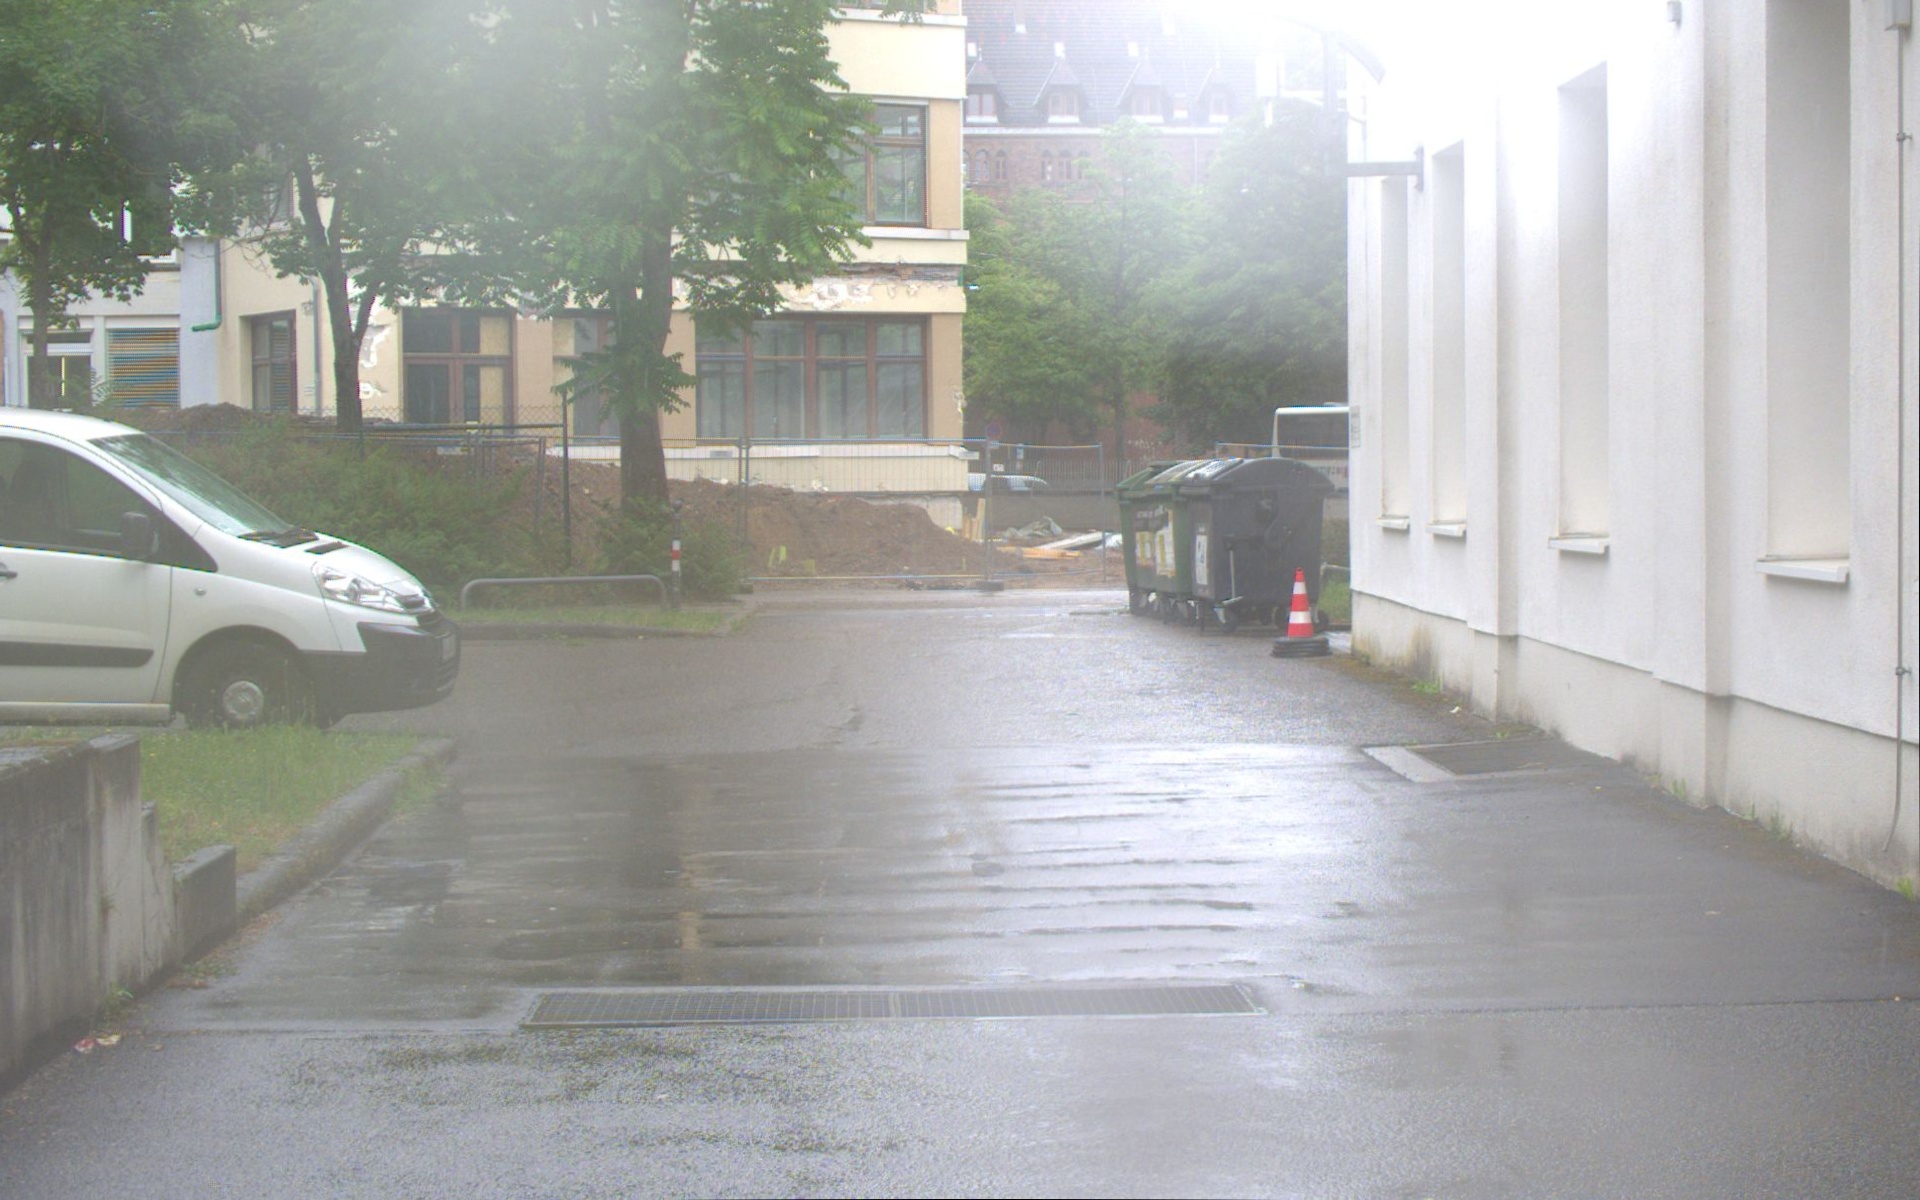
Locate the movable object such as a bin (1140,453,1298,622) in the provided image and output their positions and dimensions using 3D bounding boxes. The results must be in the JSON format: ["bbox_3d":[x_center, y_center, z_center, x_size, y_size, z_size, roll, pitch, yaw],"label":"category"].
[{"bbox_3d":[2.242,-0.535,29.991,1.214,1.432,1.294,0,0,-3],"label":"movable object such as a bin"}]

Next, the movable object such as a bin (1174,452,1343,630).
[{"bbox_3d":[2.446,-0.481,28.351,1.214,1.432,1.236,0,0,-3],"label":"movable object such as a bin"}]

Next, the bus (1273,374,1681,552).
[{"bbox_3d":[12.281,-3.169,83.418,2.807,3.860,12.057,0,0,-31],"label":"bus"}]

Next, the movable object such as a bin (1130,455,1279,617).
[{"bbox_3d":[2.237,-0.581,31.671,1.214,1.463,1.236,0,0,-3],"label":"movable object such as a bin"}]

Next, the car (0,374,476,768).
[{"bbox_3d":[-5.216,-0.171,18.910,4.780,2.006,2.000,-1,3,0],"label":"car"}]

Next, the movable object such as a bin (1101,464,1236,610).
[{"bbox_3d":[2.077,-0.623,34.424,1.214,1.432,1.259,0,0,-3],"label":"movable object such as a bin"}]

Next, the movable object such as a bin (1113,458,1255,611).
[{"bbox_3d":[2.137,-0.619,33.045,1.214,1.432,1.259,0,0,-3],"label":"movable object such as a bin"}]
